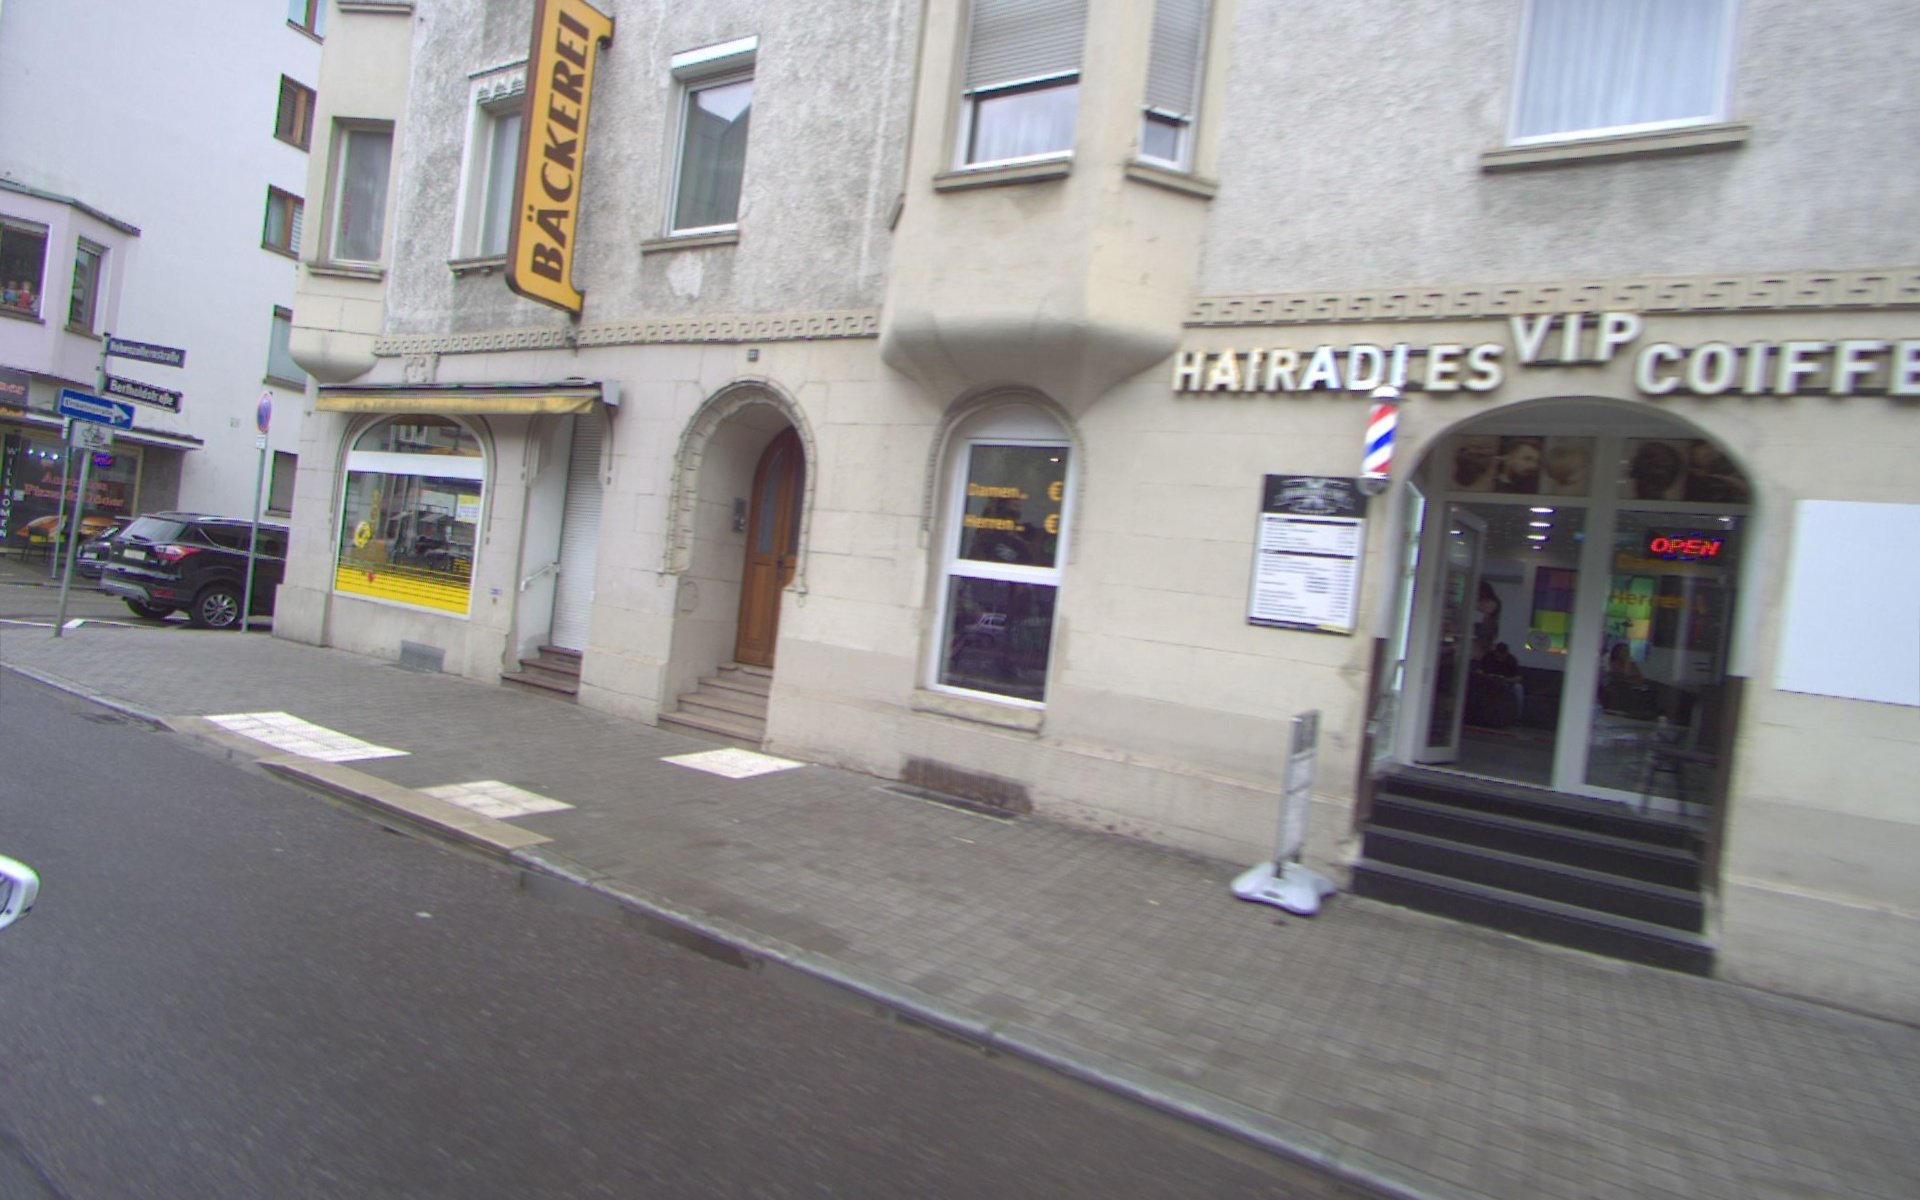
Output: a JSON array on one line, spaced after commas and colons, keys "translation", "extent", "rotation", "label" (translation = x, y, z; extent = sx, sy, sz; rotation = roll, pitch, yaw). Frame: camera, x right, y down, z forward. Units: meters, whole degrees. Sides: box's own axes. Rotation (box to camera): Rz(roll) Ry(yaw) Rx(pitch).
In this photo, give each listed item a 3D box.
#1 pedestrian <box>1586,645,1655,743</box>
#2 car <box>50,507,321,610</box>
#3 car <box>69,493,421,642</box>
[{"translation": [8.628, 1.223, 13.146], "extent": [0.470, 1.178, 0.524], "rotation": [9, -3, -34], "label": "pedestrian"}, {"translation": [-16.286, -0.814, 21.420], "extent": [1.774, 1.626, 4.119], "rotation": [5, -2, 24], "label": "car"}, {"translation": [-11.302, -0.413, 16.275], "extent": [1.840, 1.792, 4.151], "rotation": [7, -1, 24], "label": "car"}]
